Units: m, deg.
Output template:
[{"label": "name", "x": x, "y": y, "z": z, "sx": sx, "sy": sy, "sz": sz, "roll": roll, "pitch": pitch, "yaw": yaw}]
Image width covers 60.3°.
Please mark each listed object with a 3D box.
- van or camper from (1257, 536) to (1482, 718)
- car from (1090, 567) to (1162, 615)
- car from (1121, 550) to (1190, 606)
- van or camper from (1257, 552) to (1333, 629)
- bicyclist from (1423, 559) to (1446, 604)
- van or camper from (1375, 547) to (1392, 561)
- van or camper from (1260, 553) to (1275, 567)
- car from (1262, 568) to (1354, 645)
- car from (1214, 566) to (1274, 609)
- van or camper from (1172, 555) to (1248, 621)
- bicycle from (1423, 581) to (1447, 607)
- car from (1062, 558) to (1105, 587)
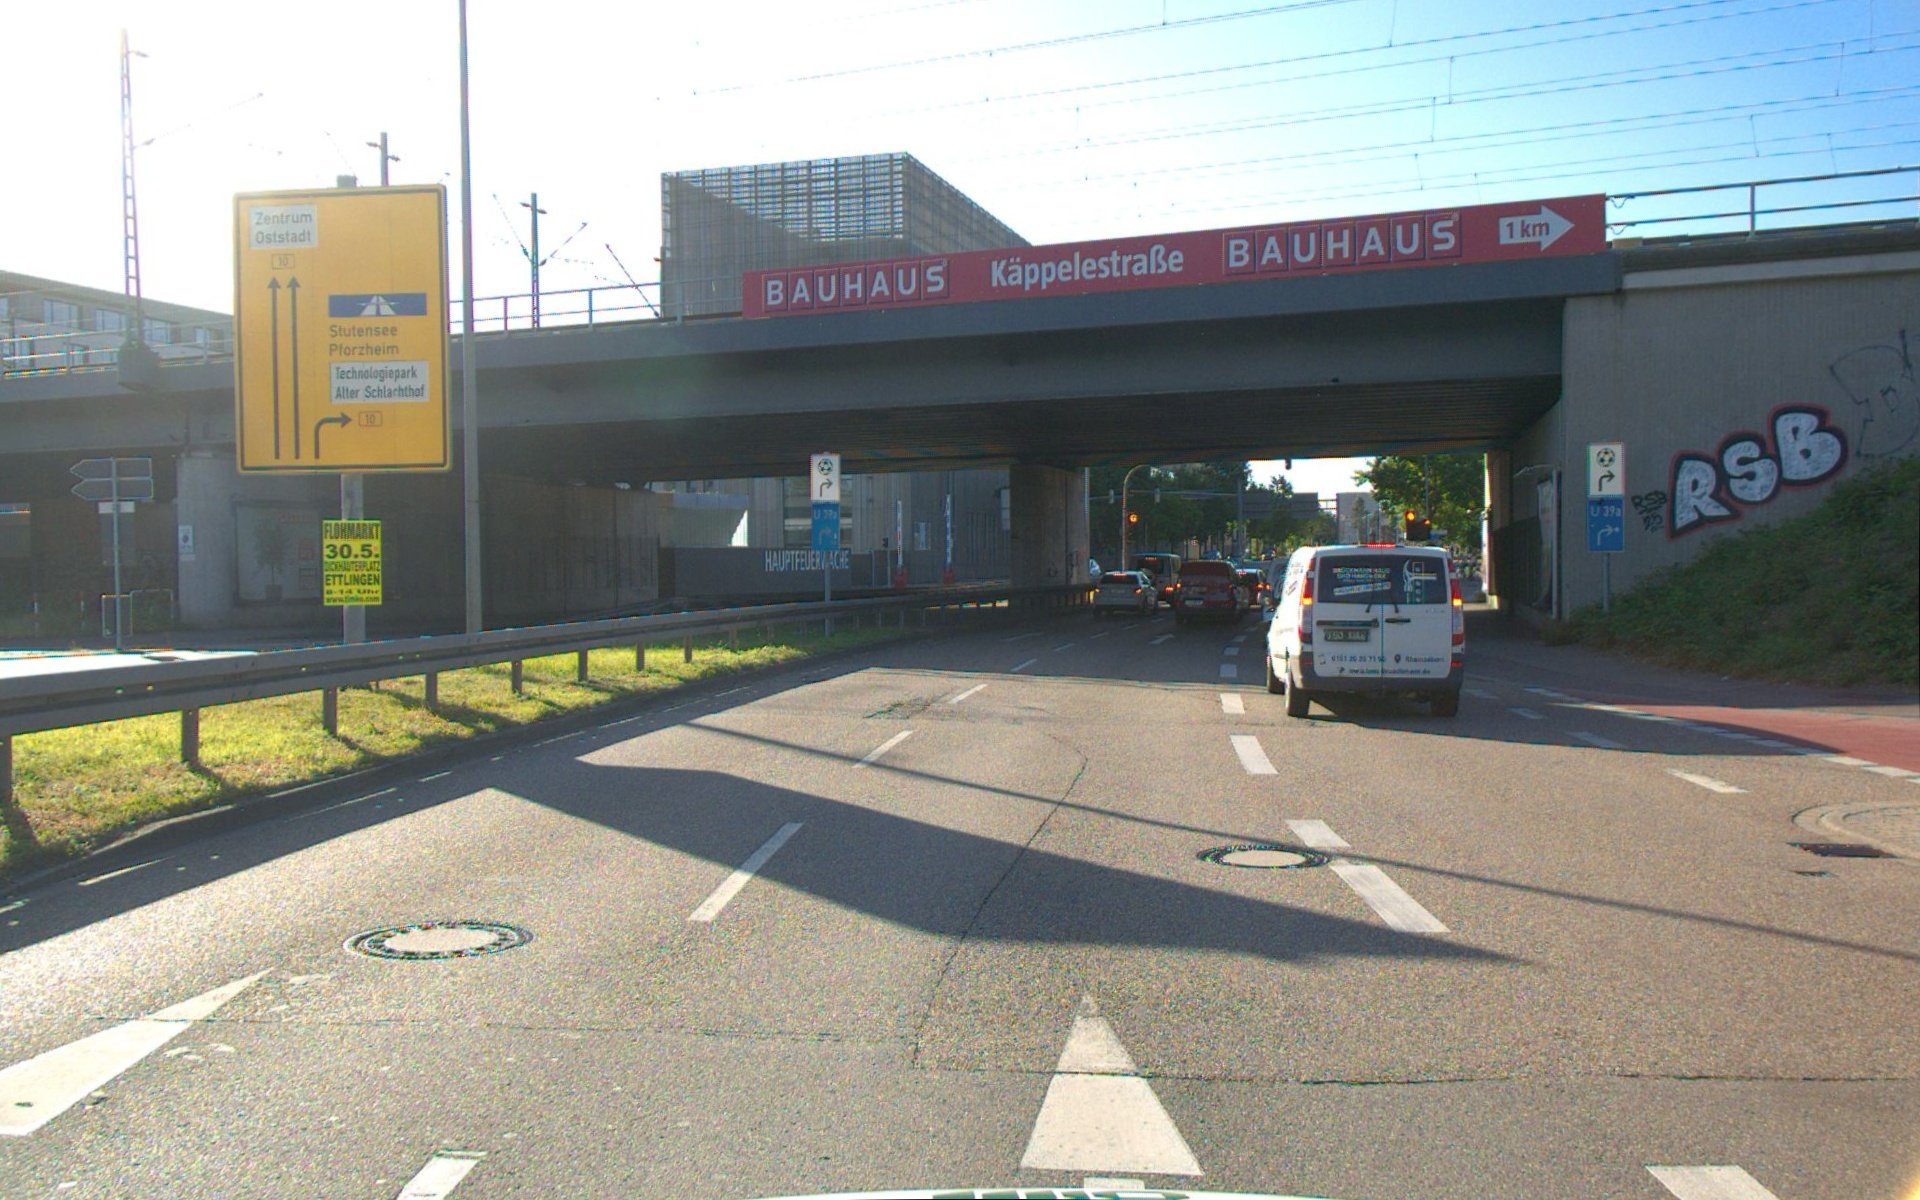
[{"label": "van or camper", "x": 4.762, "y": 0.250, "z": 19.923, "sx": 1.917, "sy": 1.916, "sz": 4.883, "roll": 0, "pitch": 1, "yaw": 5}, {"label": "car", "x": 5.425, "y": -0.319, "z": 53.661, "sx": 1.672, "sy": 1.478, "sz": 3.745, "roll": 0, "pitch": 1, "yaw": 16}, {"label": "car", "x": 7.258, "y": -0.817, "z": 60.984, "sx": 1.826, "sy": 1.981, "sz": 4.600, "roll": 0, "pitch": 1, "yaw": 16}, {"label": "van or camper", "x": 8.533, "y": -0.264, "z": 42.068, "sx": 1.786, "sy": 1.822, "sz": 4.549, "roll": 1, "pitch": 1, "yaw": 12}, {"label": "bicyclist", "x": 17.488, "y": -0.697, "z": 61.010, "sx": 0.735, "sy": 1.611, "sz": 0.926, "roll": -2, "pitch": 0, "yaw": 14}, {"label": "van or camper", "x": 58.849, "y": -6.352, "z": 229.712, "sx": 1.749, "sy": 1.896, "sz": 3.908, "roll": -2, "pitch": 0, "yaw": 22}, {"label": "van or camper", "x": 42.275, "y": -5.508, "z": 227.094, "sx": 1.747, "sy": 1.896, "sz": 3.912, "roll": -3, "pitch": 0, "yaw": 13}, {"label": "car", "x": 7.236, "y": 0.108, "z": 34.698, "sx": 1.725, "sy": 1.501, "sz": 4.293, "roll": -1, "pitch": 1, "yaw": 10}, {"label": "car", "x": 10.435, "y": -0.467, "z": 60.507, "sx": 1.726, "sy": 1.501, "sz": 4.292, "roll": -1, "pitch": 1, "yaw": 16}, {"label": "van or camper", "x": 7.348, "y": -0.383, "z": 48.371, "sx": 1.717, "sy": 1.845, "sz": 3.962, "roll": 0, "pitch": 1, "yaw": 16}, {"label": "bicycle", "x": 17.514, "y": -0.219, "z": 61.018, "sx": 0.755, "sy": 0.908, "sz": 1.998, "roll": -2, "pitch": 0, "yaw": 14}, {"label": "car", "x": 7.495, "y": -1.651, "z": 99.849, "sx": 1.745, "sy": 1.674, "sz": 4.204, "roll": 1, "pitch": 1, "yaw": 17}]
